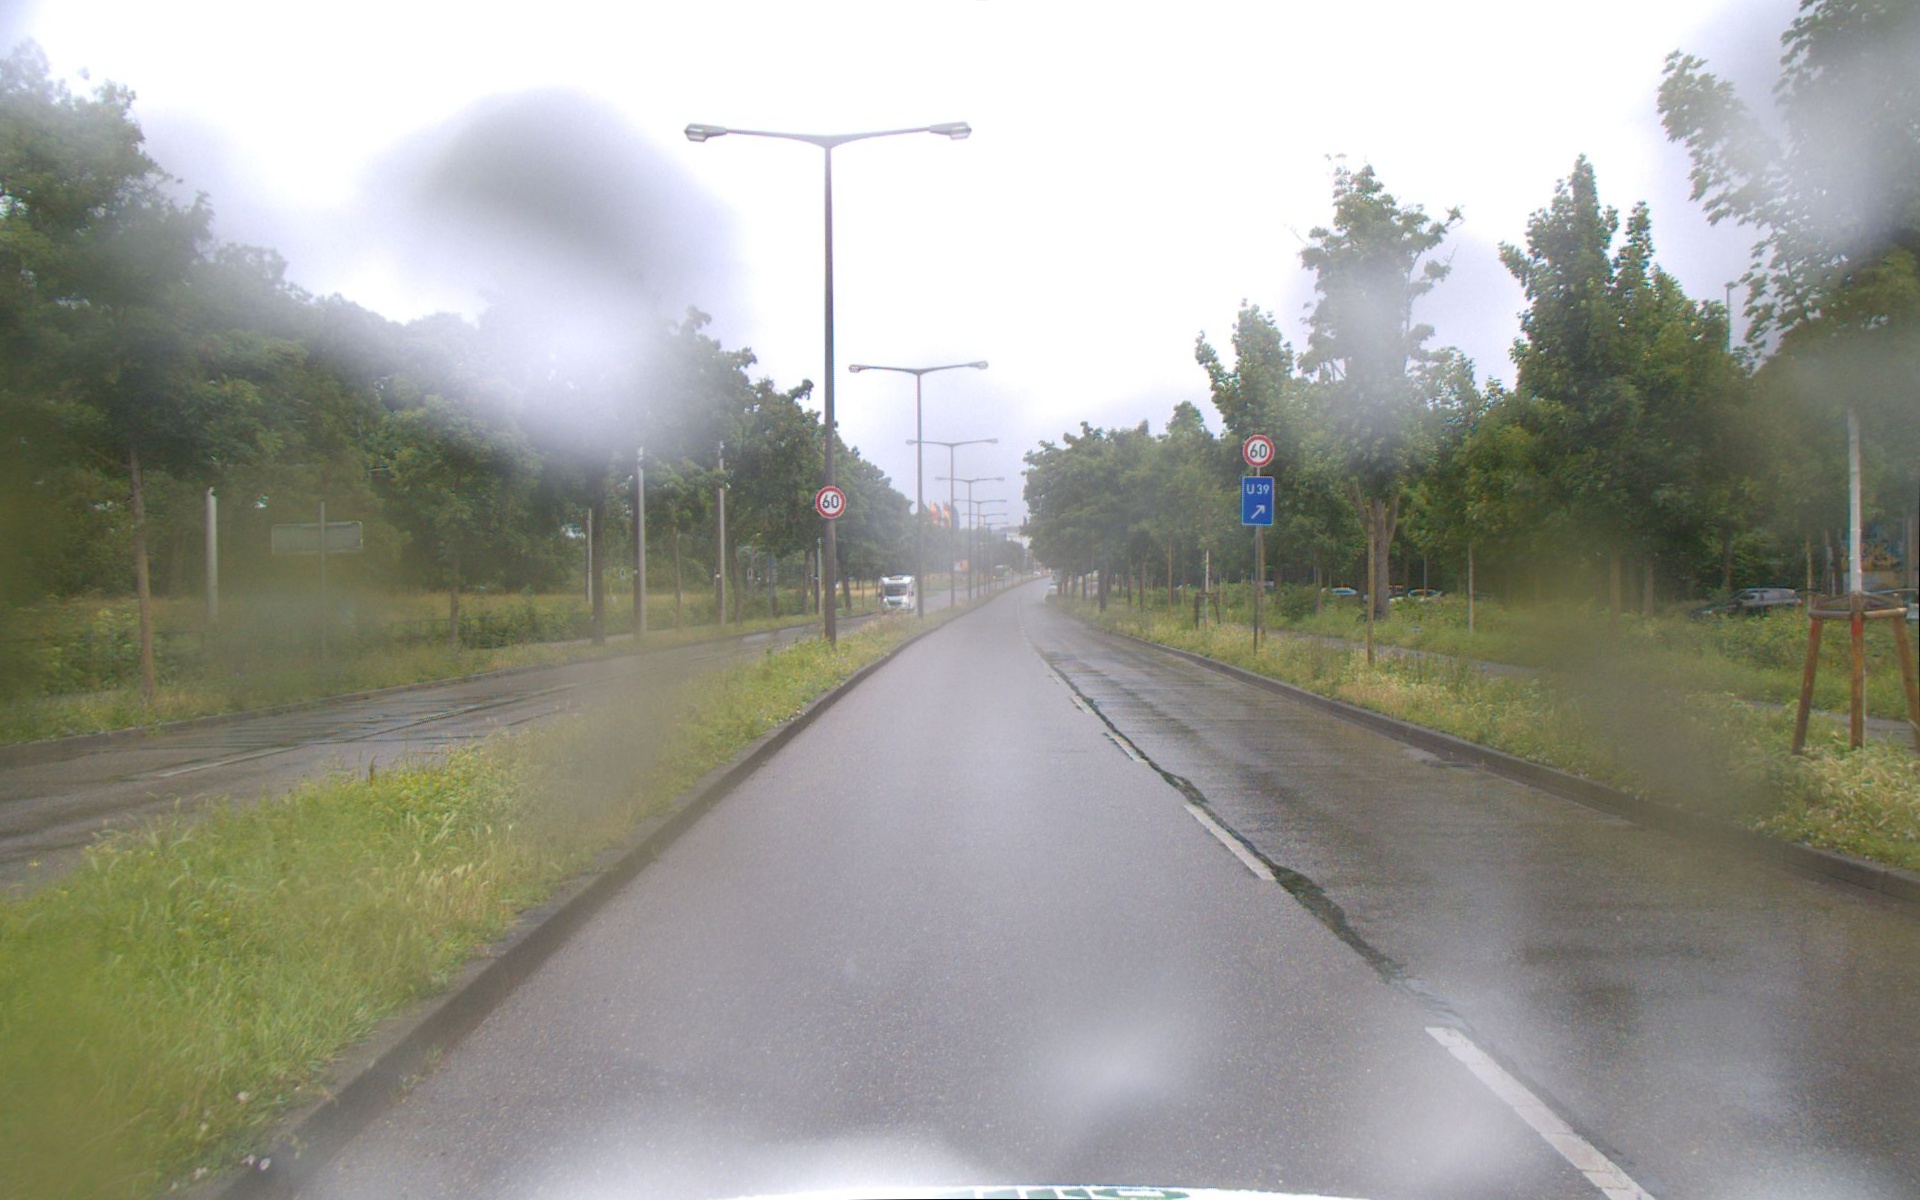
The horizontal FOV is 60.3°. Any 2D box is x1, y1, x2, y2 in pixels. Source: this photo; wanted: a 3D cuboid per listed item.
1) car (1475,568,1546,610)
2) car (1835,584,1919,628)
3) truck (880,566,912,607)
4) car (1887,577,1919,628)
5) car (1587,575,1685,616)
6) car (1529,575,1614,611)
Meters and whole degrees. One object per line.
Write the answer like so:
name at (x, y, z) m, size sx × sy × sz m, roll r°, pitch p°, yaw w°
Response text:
car at (32.798, -0.638, 98.609) m, size 3.644 × 2.365 × 1.589 m, roll 1°, pitch 0°, yaw 2°
car at (31.117, 0.213, 53.872) m, size 4.311 × 1.357 × 1.836 m, roll 1°, pitch 0°, yaw -4°
truck at (-4.780, -0.979, 124.603) m, size 2.094 × 2.893 × 5.073 m, roll -2°, pitch -1°, yaw 0°
car at (31.592, 0.132, 51.488) m, size 4.479 × 1.574 × 1.862 m, roll 1°, pitch 0°, yaw -4°
car at (32.073, -0.208, 78.555) m, size 3.873 × 1.852 × 1.897 m, roll 1°, pitch 0°, yaw 2°
car at (32.694, -0.370, 88.496) m, size 3.873 × 1.852 × 1.897 m, roll 1°, pitch 0°, yaw 2°
